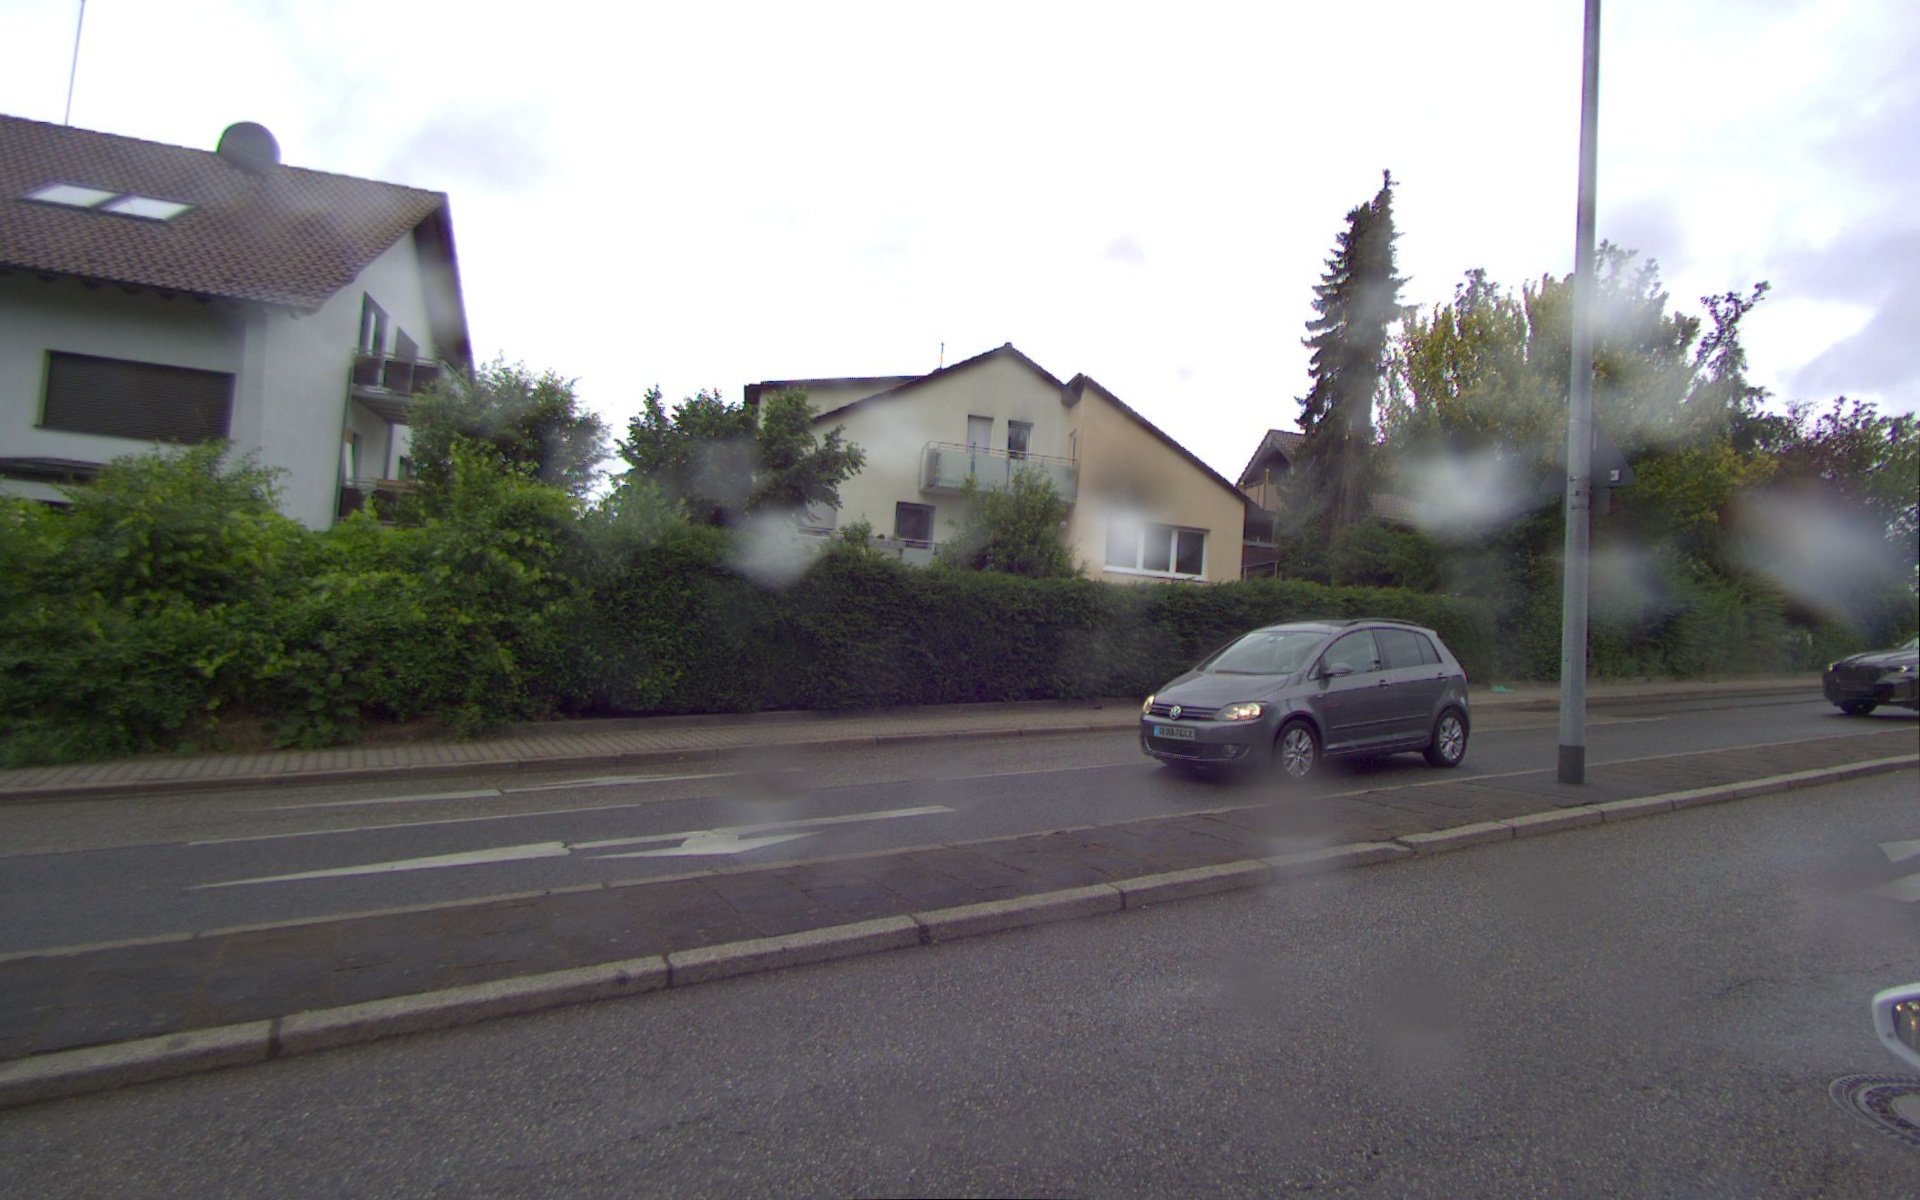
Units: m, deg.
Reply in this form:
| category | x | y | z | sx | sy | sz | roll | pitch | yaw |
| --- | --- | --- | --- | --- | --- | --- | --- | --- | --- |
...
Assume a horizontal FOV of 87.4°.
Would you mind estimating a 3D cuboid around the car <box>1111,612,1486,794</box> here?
| category | x | y | z | sx | sy | sz | roll | pitch | yaw |
| --- | --- | --- | --- | --- | --- | --- | --- | --- | --- |
| car | 3.702 | 0.998 | 10.808 | 3.988 | 1.623 | 1.733 | 2 | -3 | -33 |

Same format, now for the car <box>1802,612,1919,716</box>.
| category | x | y | z | sx | sy | sz | roll | pitch | yaw |
| --- | --- | --- | --- | --- | --- | --- | --- | --- | --- |
| car | 18.138 | 1.124 | 17.926 | 4.626 | 1.739 | 2.000 | 0 | -2 | -3 |
